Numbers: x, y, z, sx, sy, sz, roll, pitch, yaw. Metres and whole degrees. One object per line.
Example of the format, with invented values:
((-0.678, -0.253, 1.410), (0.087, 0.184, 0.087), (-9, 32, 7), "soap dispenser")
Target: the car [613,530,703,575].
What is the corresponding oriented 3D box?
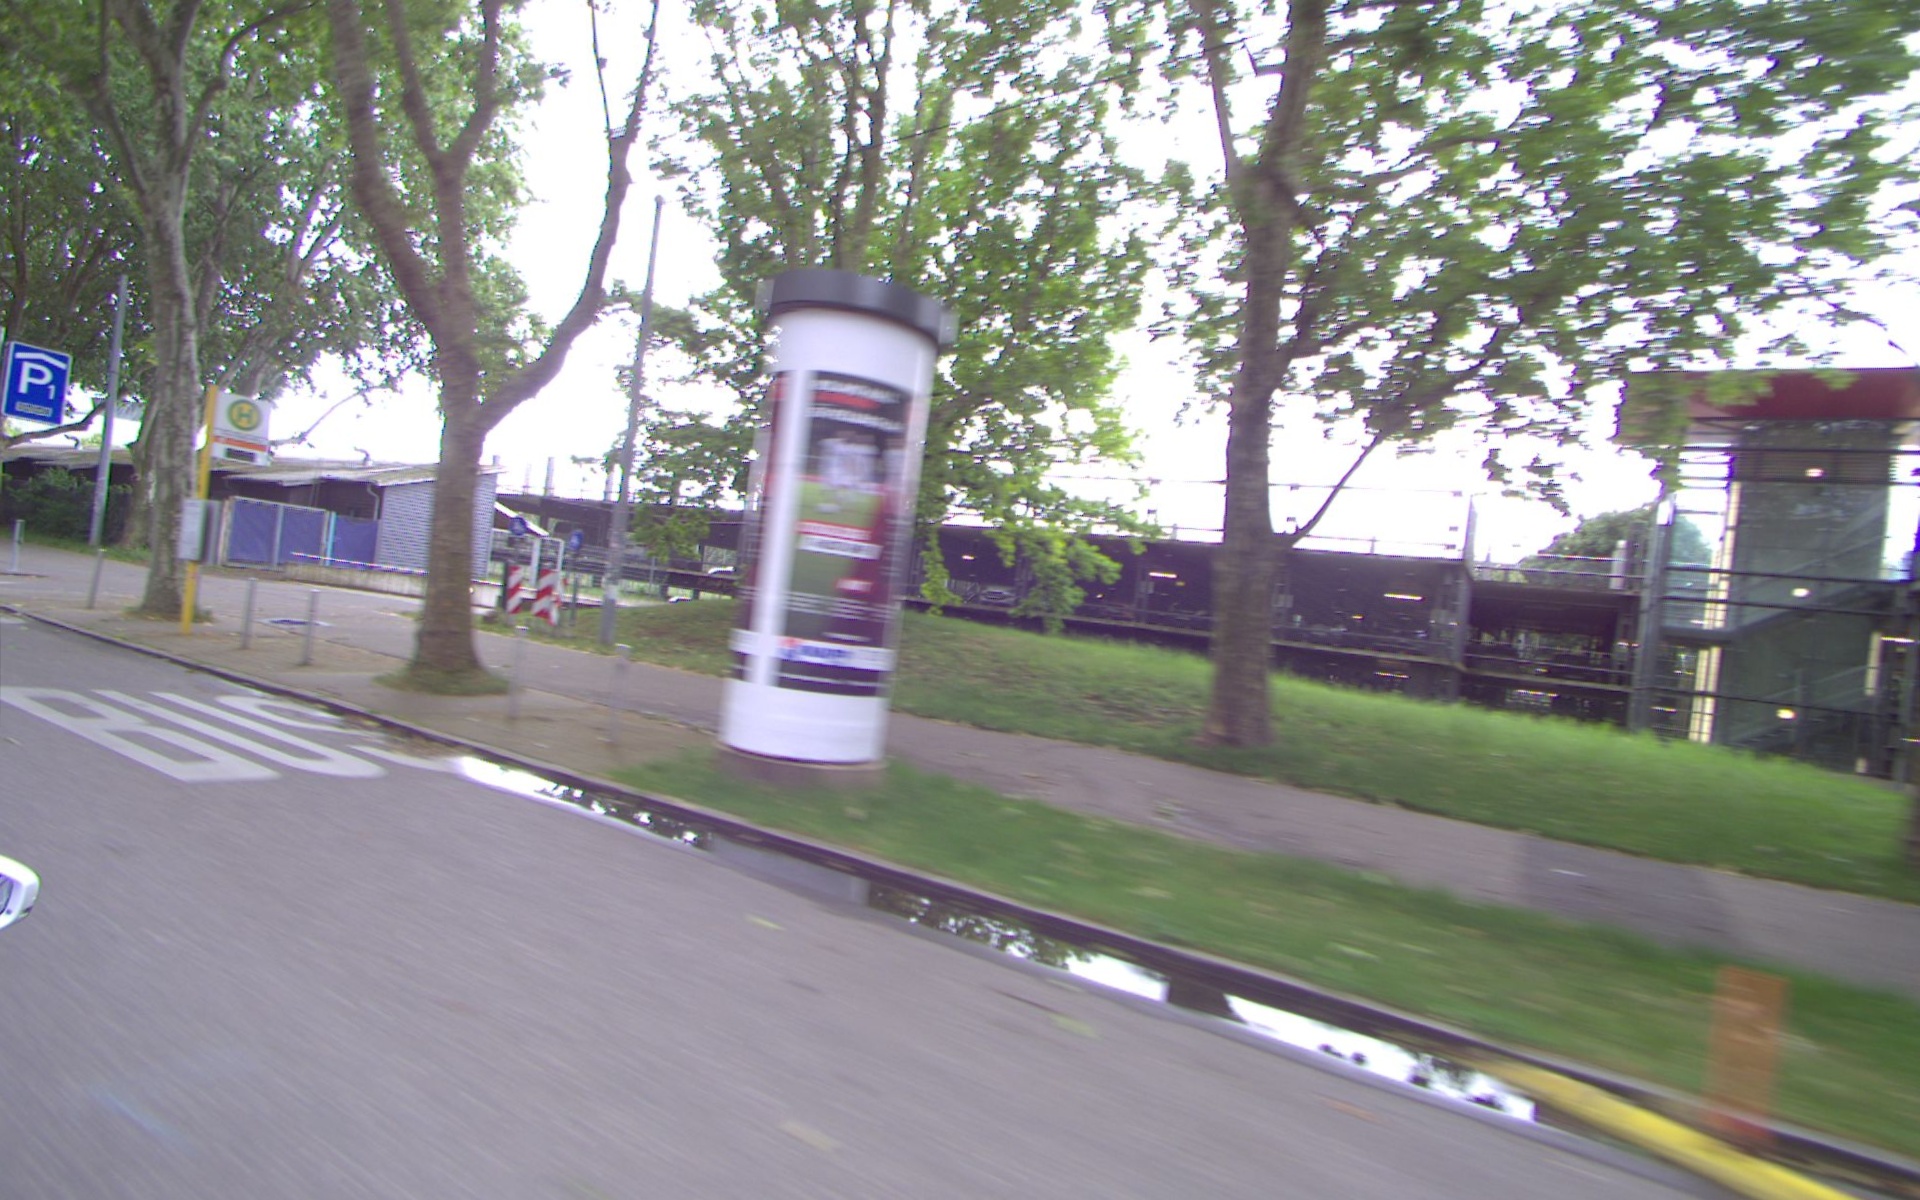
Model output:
((-15.847, -2.476, 53.043), (1.950, 1.692, 4.271), (6, -2, 29), "car")
